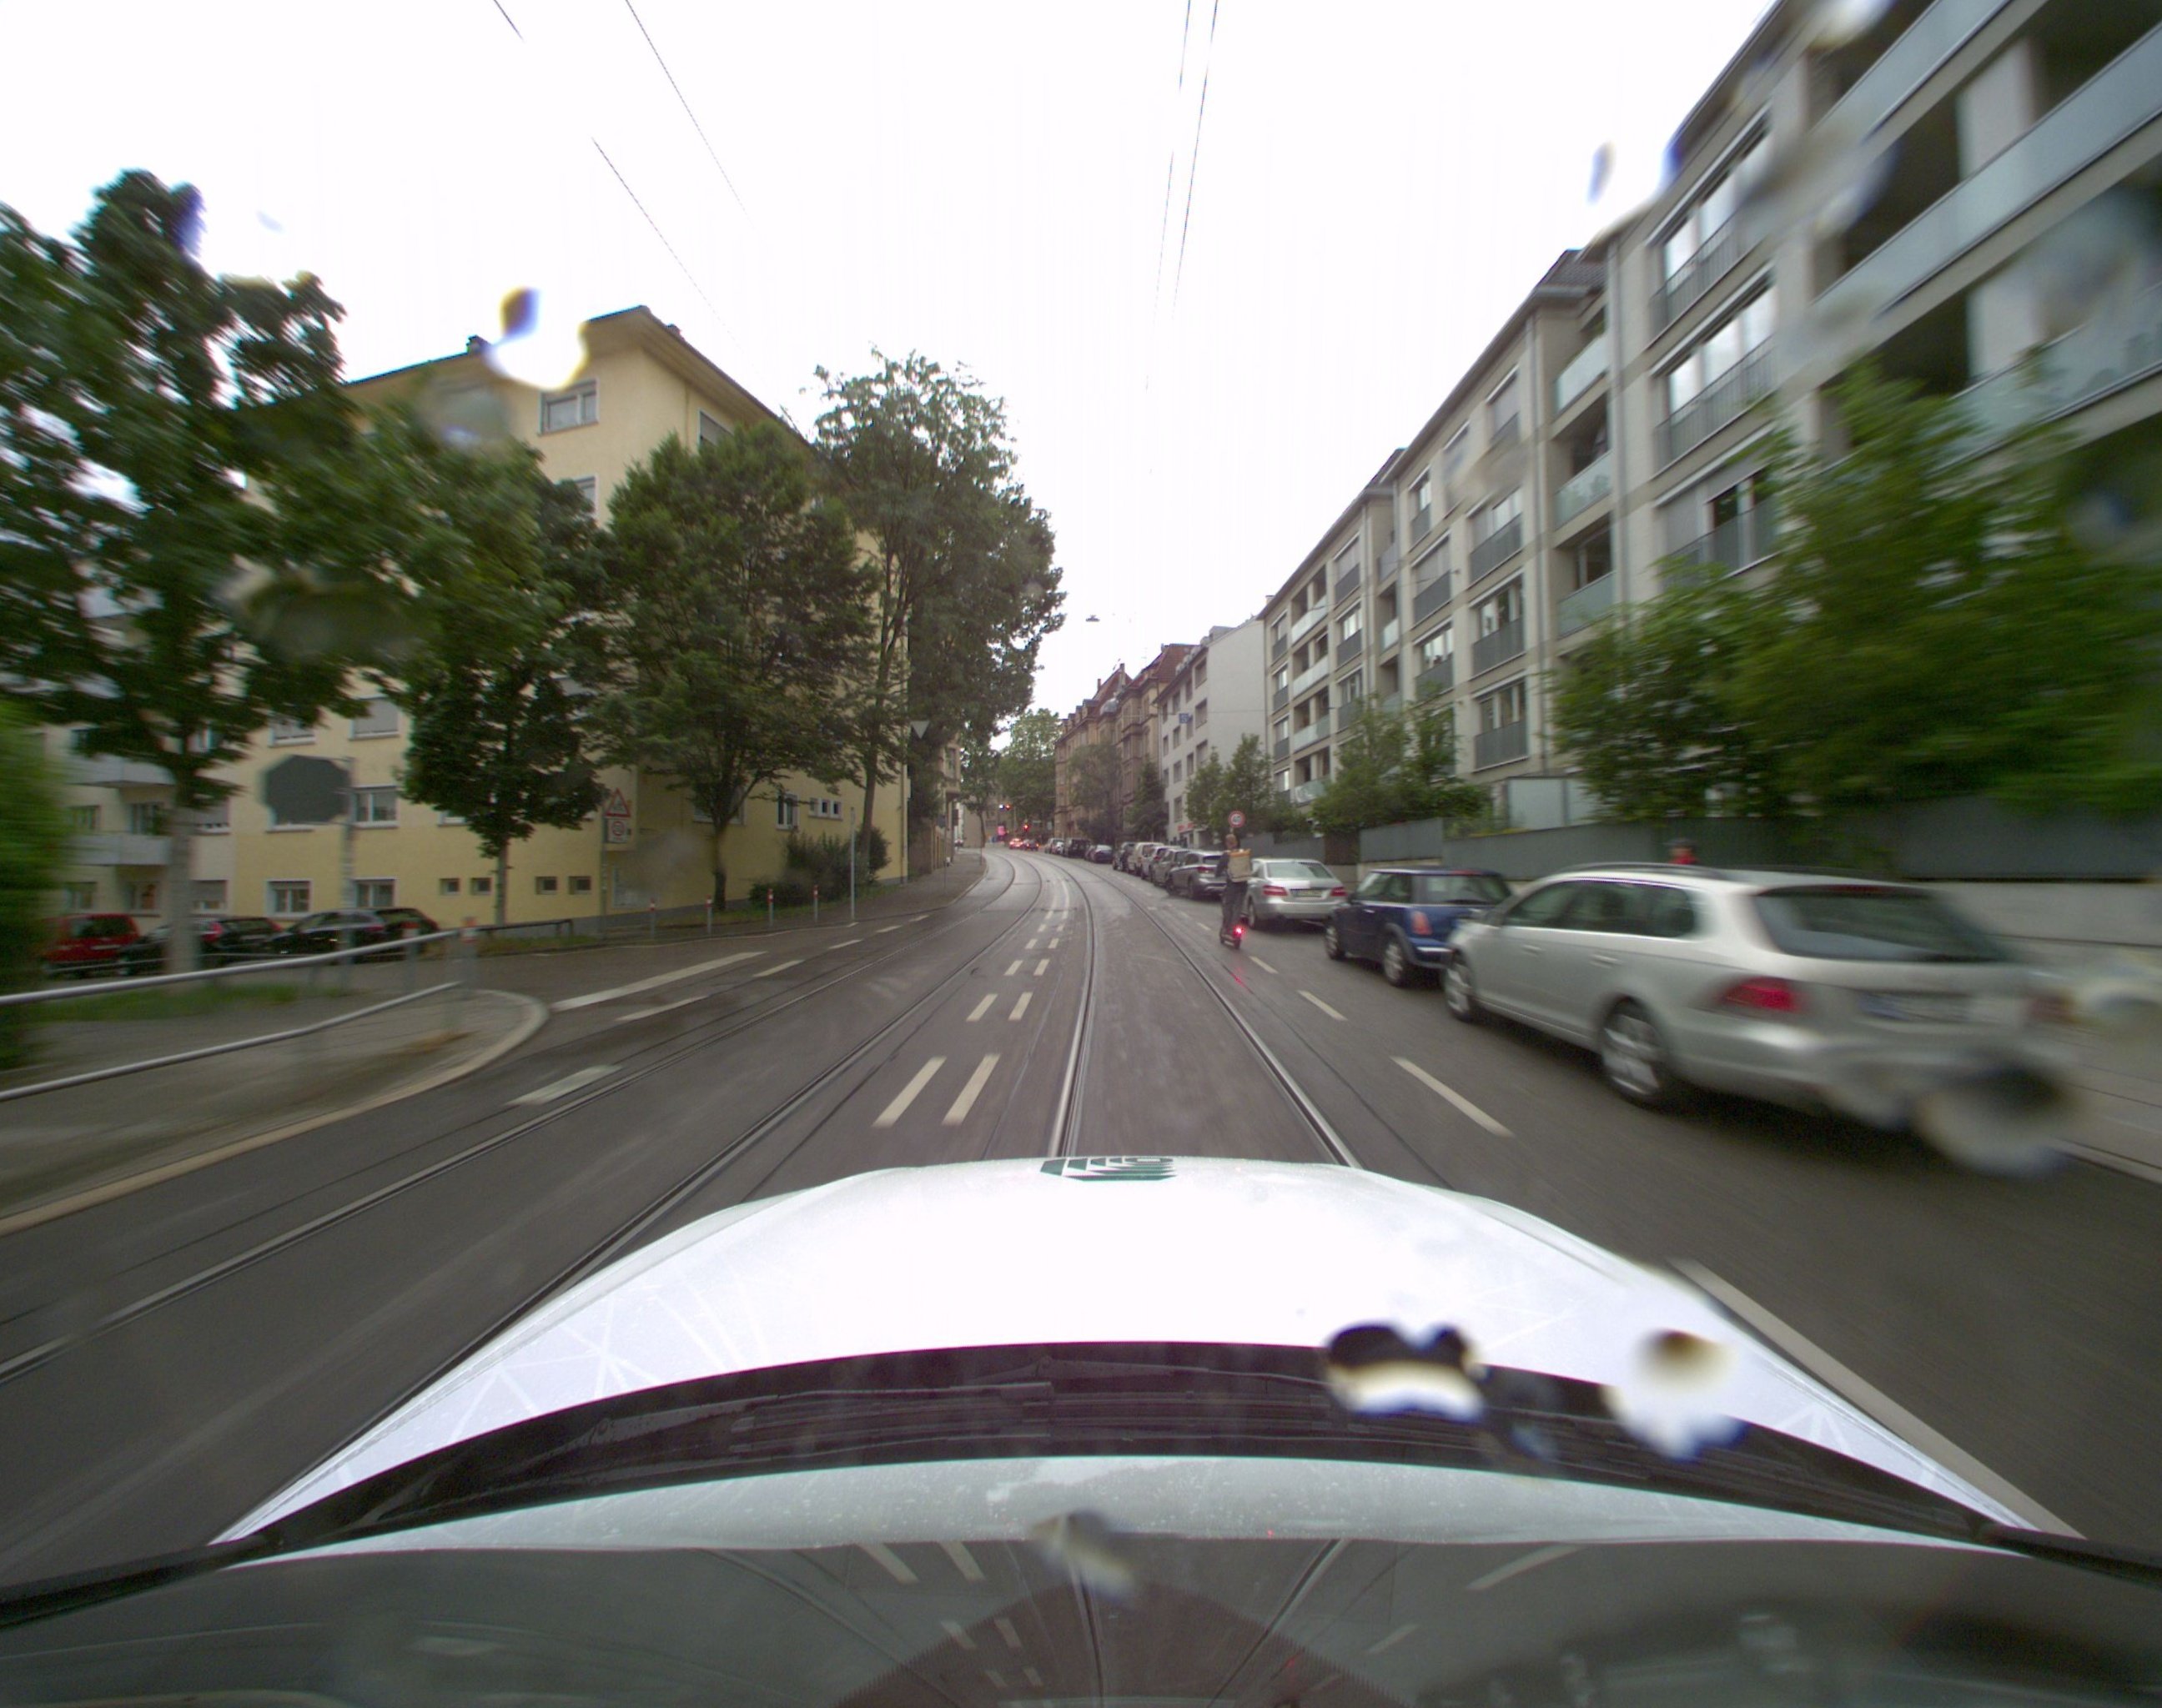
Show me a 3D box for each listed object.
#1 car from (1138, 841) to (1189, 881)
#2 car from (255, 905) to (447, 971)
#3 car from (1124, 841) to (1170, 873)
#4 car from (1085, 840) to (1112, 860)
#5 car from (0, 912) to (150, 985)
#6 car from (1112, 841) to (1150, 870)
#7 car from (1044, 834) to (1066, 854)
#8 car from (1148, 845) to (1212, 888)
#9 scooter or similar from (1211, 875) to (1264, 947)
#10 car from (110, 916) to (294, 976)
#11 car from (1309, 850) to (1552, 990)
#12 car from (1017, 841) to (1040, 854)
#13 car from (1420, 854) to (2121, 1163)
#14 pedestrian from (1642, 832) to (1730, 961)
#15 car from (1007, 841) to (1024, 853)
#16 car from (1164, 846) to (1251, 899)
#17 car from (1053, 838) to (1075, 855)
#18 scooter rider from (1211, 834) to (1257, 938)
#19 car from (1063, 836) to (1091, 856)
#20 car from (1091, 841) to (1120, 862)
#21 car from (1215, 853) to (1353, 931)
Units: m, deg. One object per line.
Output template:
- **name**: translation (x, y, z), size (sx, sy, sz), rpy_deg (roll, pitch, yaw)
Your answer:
- **car**: translation (3.933, 0.286, 39.306), size (1.763, 1.787, 4.243), rpy_deg (1, 1, -4)
- **car**: translation (-18.630, 2.139, 20.828), size (3.911, 1.281, 1.718), rpy_deg (-4, 1, 15)
- **car**: translation (3.631, 0.124, 45.499), size (1.764, 1.684, 4.239), rpy_deg (1, 1, -6)
- **car**: translation (1.457, -0.332, 69.034), size (1.648, 1.536, 3.880), rpy_deg (-3, 2, -7)
- **car**: translation (-30.040, 2.806, 24.117), size (4.004, 1.799, 1.720), rpy_deg (-4, 1, 18)
- **car**: translation (3.034, 0.064, 50.170), size (1.764, 1.684, 4.241), rpy_deg (1, 1, -5)
- **car**: translation (-3.036, -1.160, 94.484), size (2.027, 2.218, 4.127), rpy_deg (1, 1, -9)
- **car**: translation (4.028, 0.468, 33.734), size (1.764, 1.615, 4.240), rpy_deg (1, 1, -6)
- **scooter or similar**: translation (2.614, 0.923, 13.801), size (0.512, 1.049, 2.009), rpy_deg (0, 1, 0)
- **car**: translation (-24.470, 2.561, 22.706), size (4.006, 1.372, 1.718), rpy_deg (-3, 1, 15)
- **car**: translation (4.432, 0.728, 10.974), size (1.696, 1.512, 3.714), rpy_deg (1, 1, 0)
- **car**: translation (-6.954, -0.878, 108.428), size (2.034, 1.734, 4.113), rpy_deg (0, 1, -19)
- **car**: translation (4.265, 0.747, 6.190), size (1.655, 1.471, 4.510), rpy_deg (1, 0, 2)
- **pedestrian**: translation (7.560, 0.514, 10.203), size (0.566, 1.542, 0.652), rpy_deg (-3, 0, 4)
- **car**: translation (-9.192, -0.991, 114.301), size (1.858, 1.734, 4.123), rpy_deg (0, 1, -12)
- **car**: translation (4.210, 0.564, 27.814), size (1.765, 1.615, 4.236), rpy_deg (-1, 0, -8)
- **car**: translation (-1.894, -0.879, 89.431), size (2.026, 1.824, 4.130), rpy_deg (1, 1, -6)
- **scooter rider**: translation (2.567, 0.513, 13.732), size (0.621, 1.705, 0.844), rpy_deg (-1, 1, 0)
- **car**: translation (-0.394, -0.819, 78.203), size (2.027, 1.824, 4.354), rpy_deg (1, 1, -9)
- **car**: translation (1.878, -0.211, 63.952), size (1.764, 1.517, 4.132), rpy_deg (1, 1, -5)
- **car**: translation (4.297, 0.737, 18.031), size (1.757, 1.434, 4.636), rpy_deg (-1, 0, -2)
